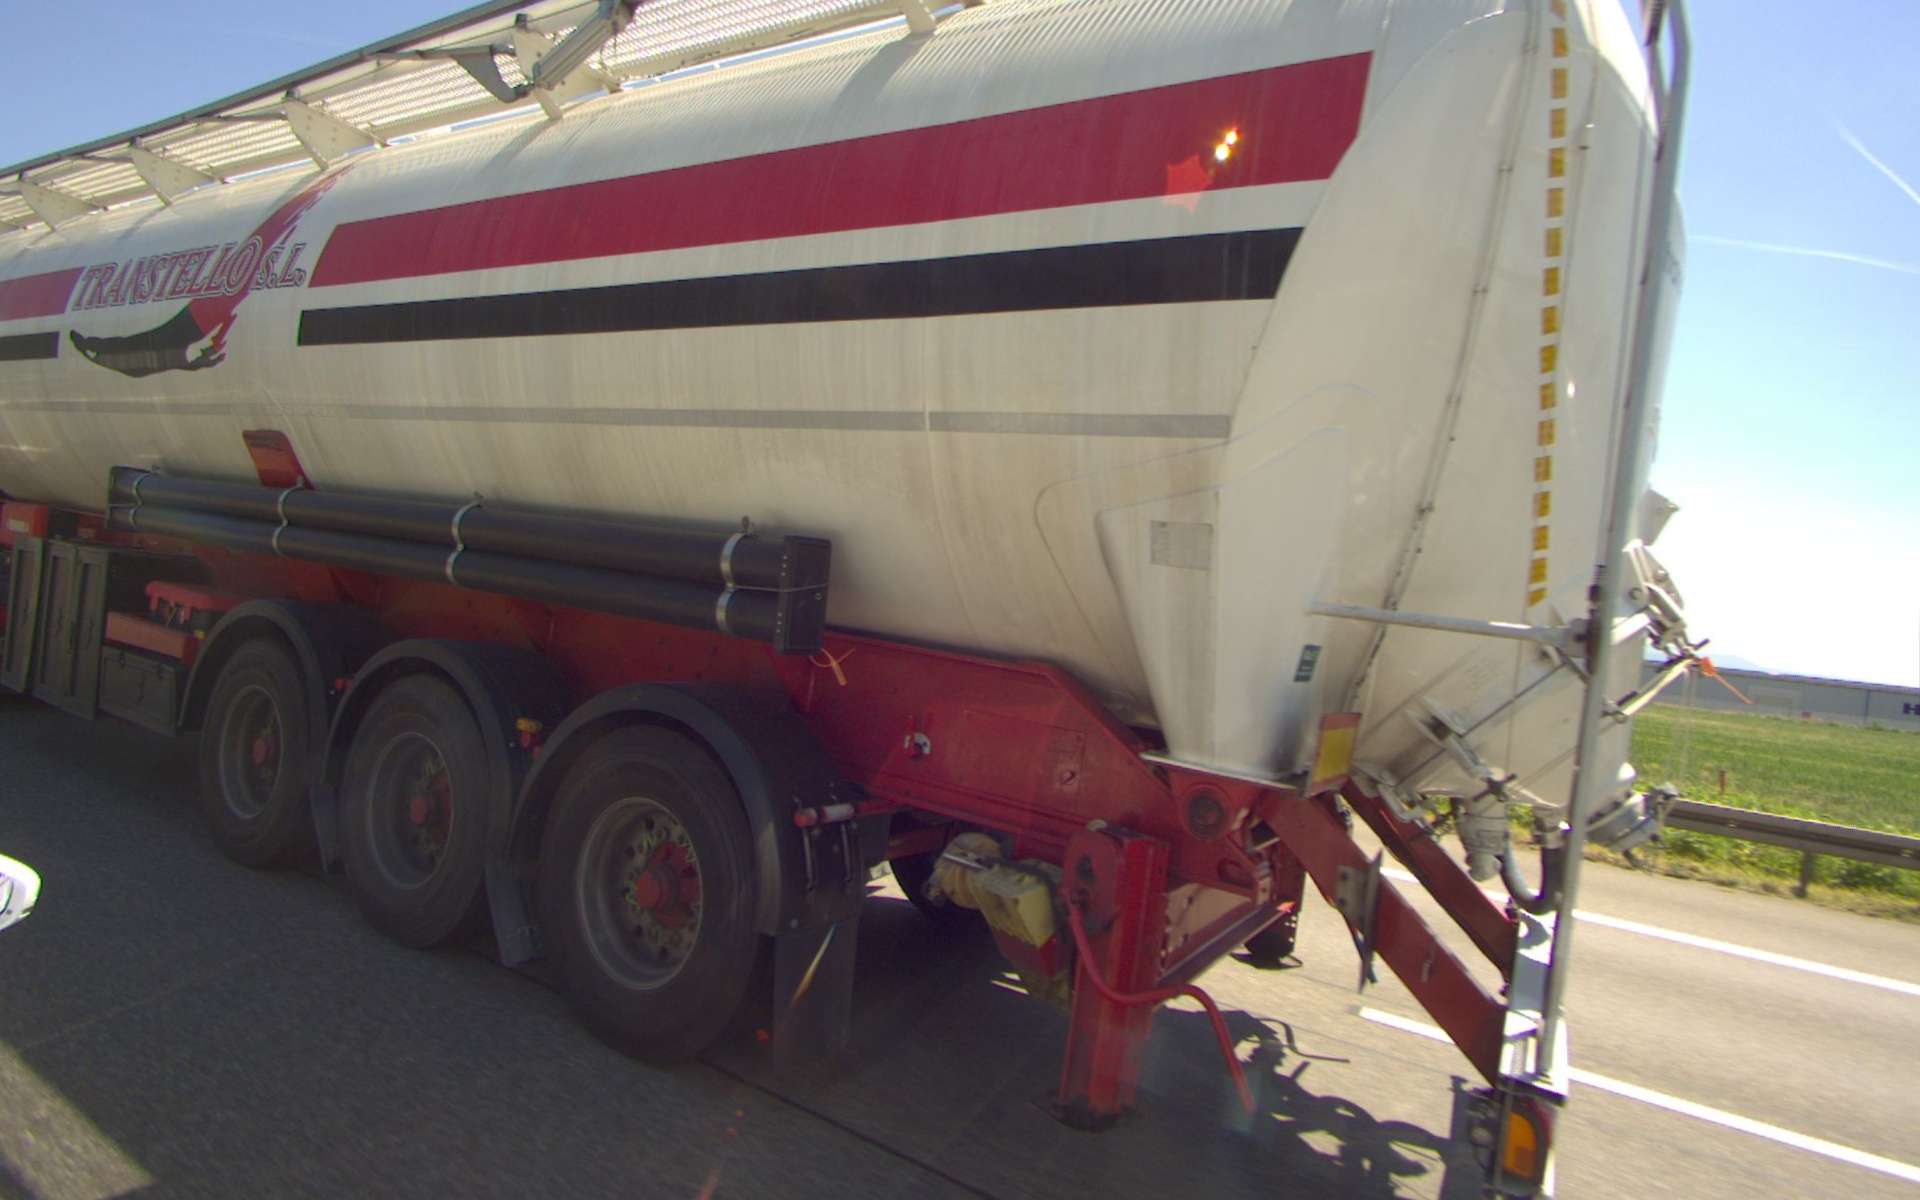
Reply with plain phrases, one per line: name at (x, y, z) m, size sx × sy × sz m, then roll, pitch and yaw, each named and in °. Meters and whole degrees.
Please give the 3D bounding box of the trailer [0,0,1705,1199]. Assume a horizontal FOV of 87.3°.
trailer at (-3.165, -0.993, 6.209) m, size 12.145 × 4.256 × 2.794 m, roll 7°, pitch 0°, yaw 31°

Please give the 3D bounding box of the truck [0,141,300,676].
truck at (-9.558, -1.710, 10.011) m, size 4.916 × 4.256 × 2.794 m, roll 7°, pitch 0°, yaw 31°
